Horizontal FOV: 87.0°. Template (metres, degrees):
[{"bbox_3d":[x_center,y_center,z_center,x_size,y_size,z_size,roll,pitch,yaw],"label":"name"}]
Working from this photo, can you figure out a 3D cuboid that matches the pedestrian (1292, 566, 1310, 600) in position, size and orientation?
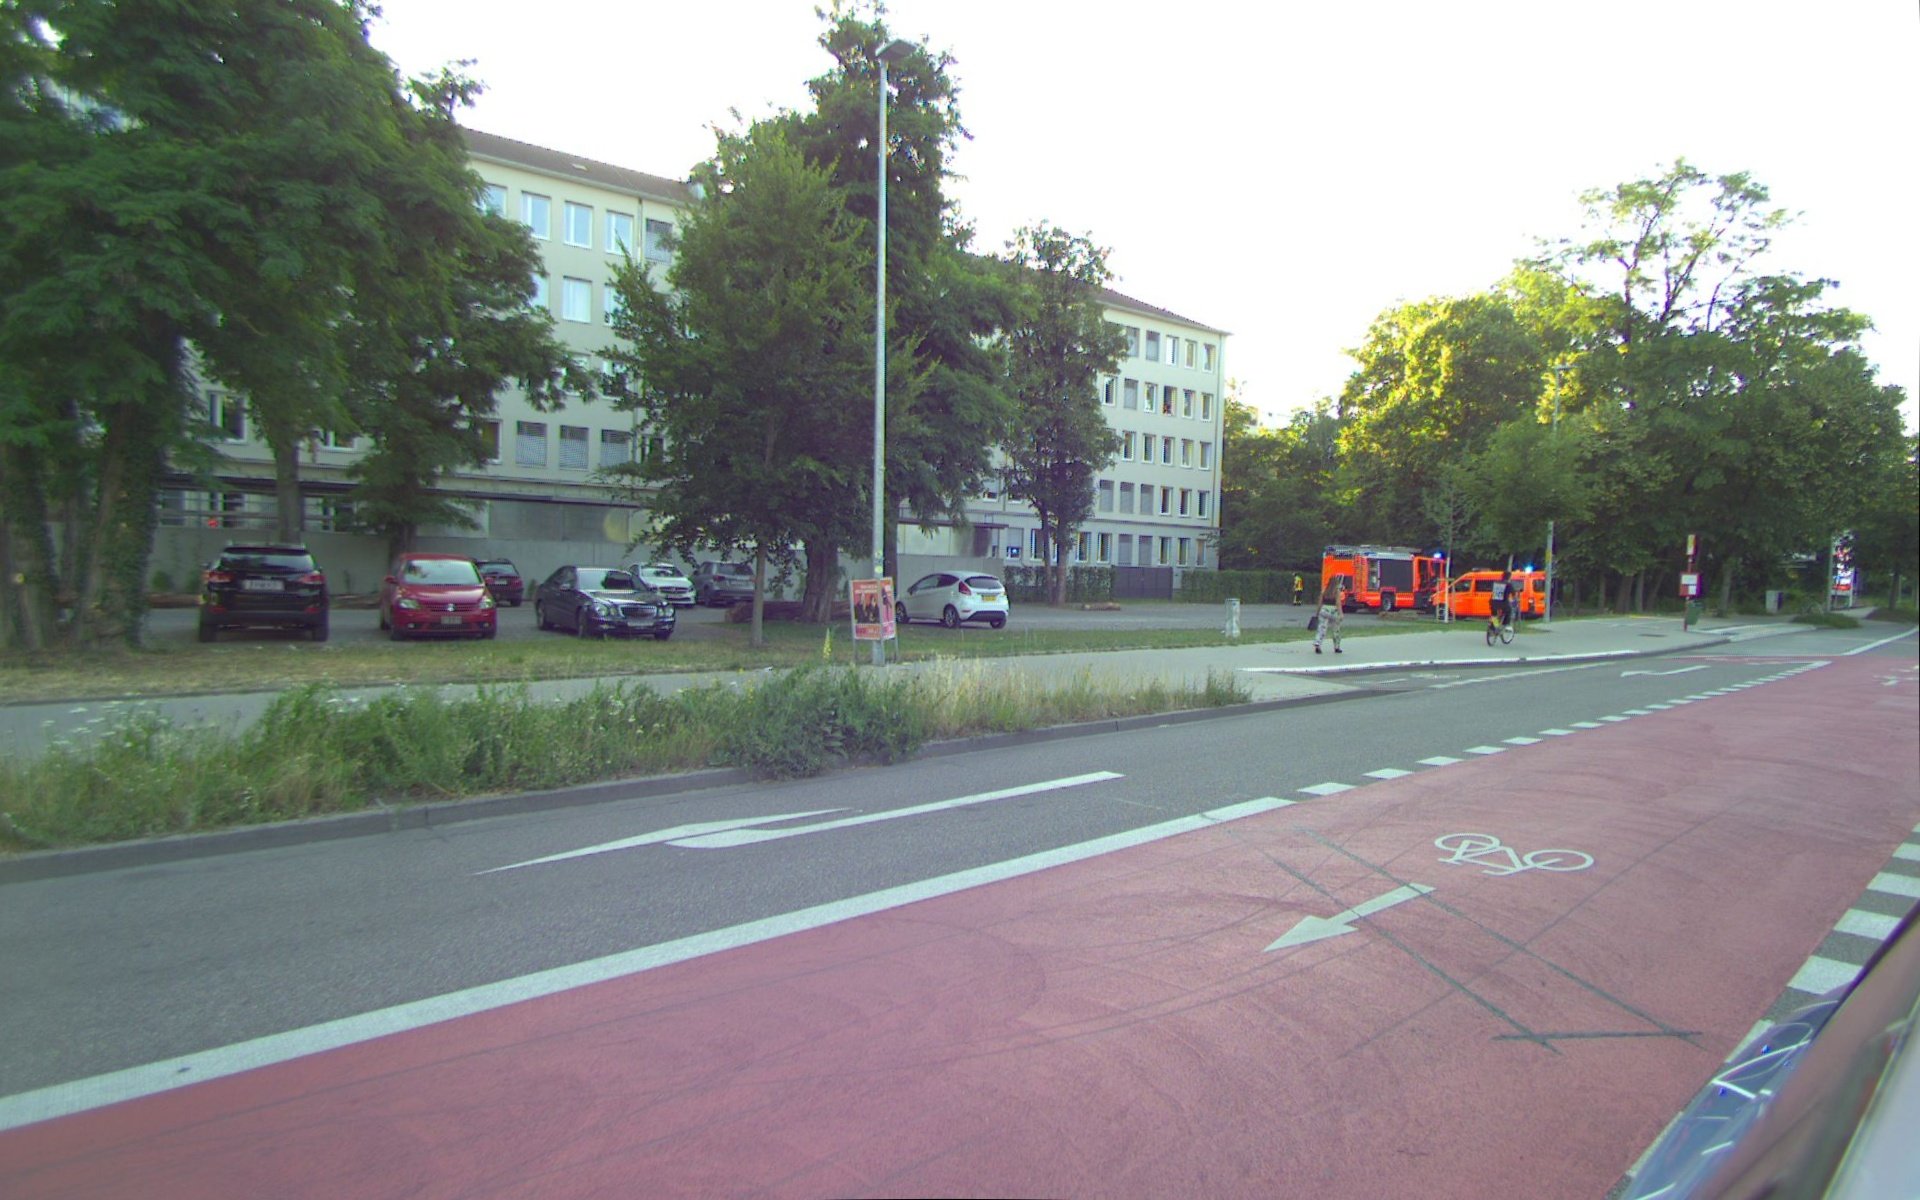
[{"bbox_3d":[18.749,-0.936,55.571,0.836,1.864,0.678,2,1,22],"label":"pedestrian"}]

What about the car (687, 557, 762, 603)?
[{"bbox_3d":[-8.202,-0.703,35.088,1.734,1.477,3.320,1,2,-27],"label":"car"}]

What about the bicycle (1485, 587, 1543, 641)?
[{"bbox_3d":[13.422,0.319,24.487,1.866,1.256,0.571,0,2,-41],"label":"bicycle"}]

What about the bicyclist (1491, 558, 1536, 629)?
[{"bbox_3d":[13.353,-0.162,24.403,1.019,1.652,0.571,0,2,-41],"label":"bicyclist"}]

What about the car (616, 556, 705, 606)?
[{"bbox_3d":[-10.018,-0.660,33.691,1.880,1.540,3.921,0,2,-32],"label":"car"}]

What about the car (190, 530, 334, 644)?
[{"bbox_3d":[-12.292,-0.293,17.868,1.882,1.761,4.241,0,2,-35],"label":"car"}]

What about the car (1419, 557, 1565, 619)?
[{"bbox_3d":[22.781,-0.571,43.556,1.963,2.422,5.168,0,2,-37],"label":"car"}]

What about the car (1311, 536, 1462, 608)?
[{"bbox_3d":[20.968,-1.352,49.519,8.138,3.283,2.775,0,2,-34],"label":"car"}]

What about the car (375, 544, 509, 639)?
[{"bbox_3d":[-10.111,-0.232,19.602,1.882,1.630,4.003,0,2,-33],"label":"car"}]

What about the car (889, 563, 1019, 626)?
[{"bbox_3d":[-0.222,-0.192,26.860,1.633,1.477,3.667,0,2,-35],"label":"car"}]

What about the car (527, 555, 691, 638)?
[{"bbox_3d":[-7.385,-0.142,20.994,1.883,1.482,4.519,0,3,-37],"label":"car"}]

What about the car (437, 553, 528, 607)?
[{"bbox_3d":[-14.526,-0.639,30.704,1.738,1.477,3.626,0,3,-38],"label":"car"}]

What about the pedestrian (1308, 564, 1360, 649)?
[{"bbox_3d":[7.506,0.119,20.329,0.676,1.642,0.682,1,2,-41],"label":"pedestrian"}]
